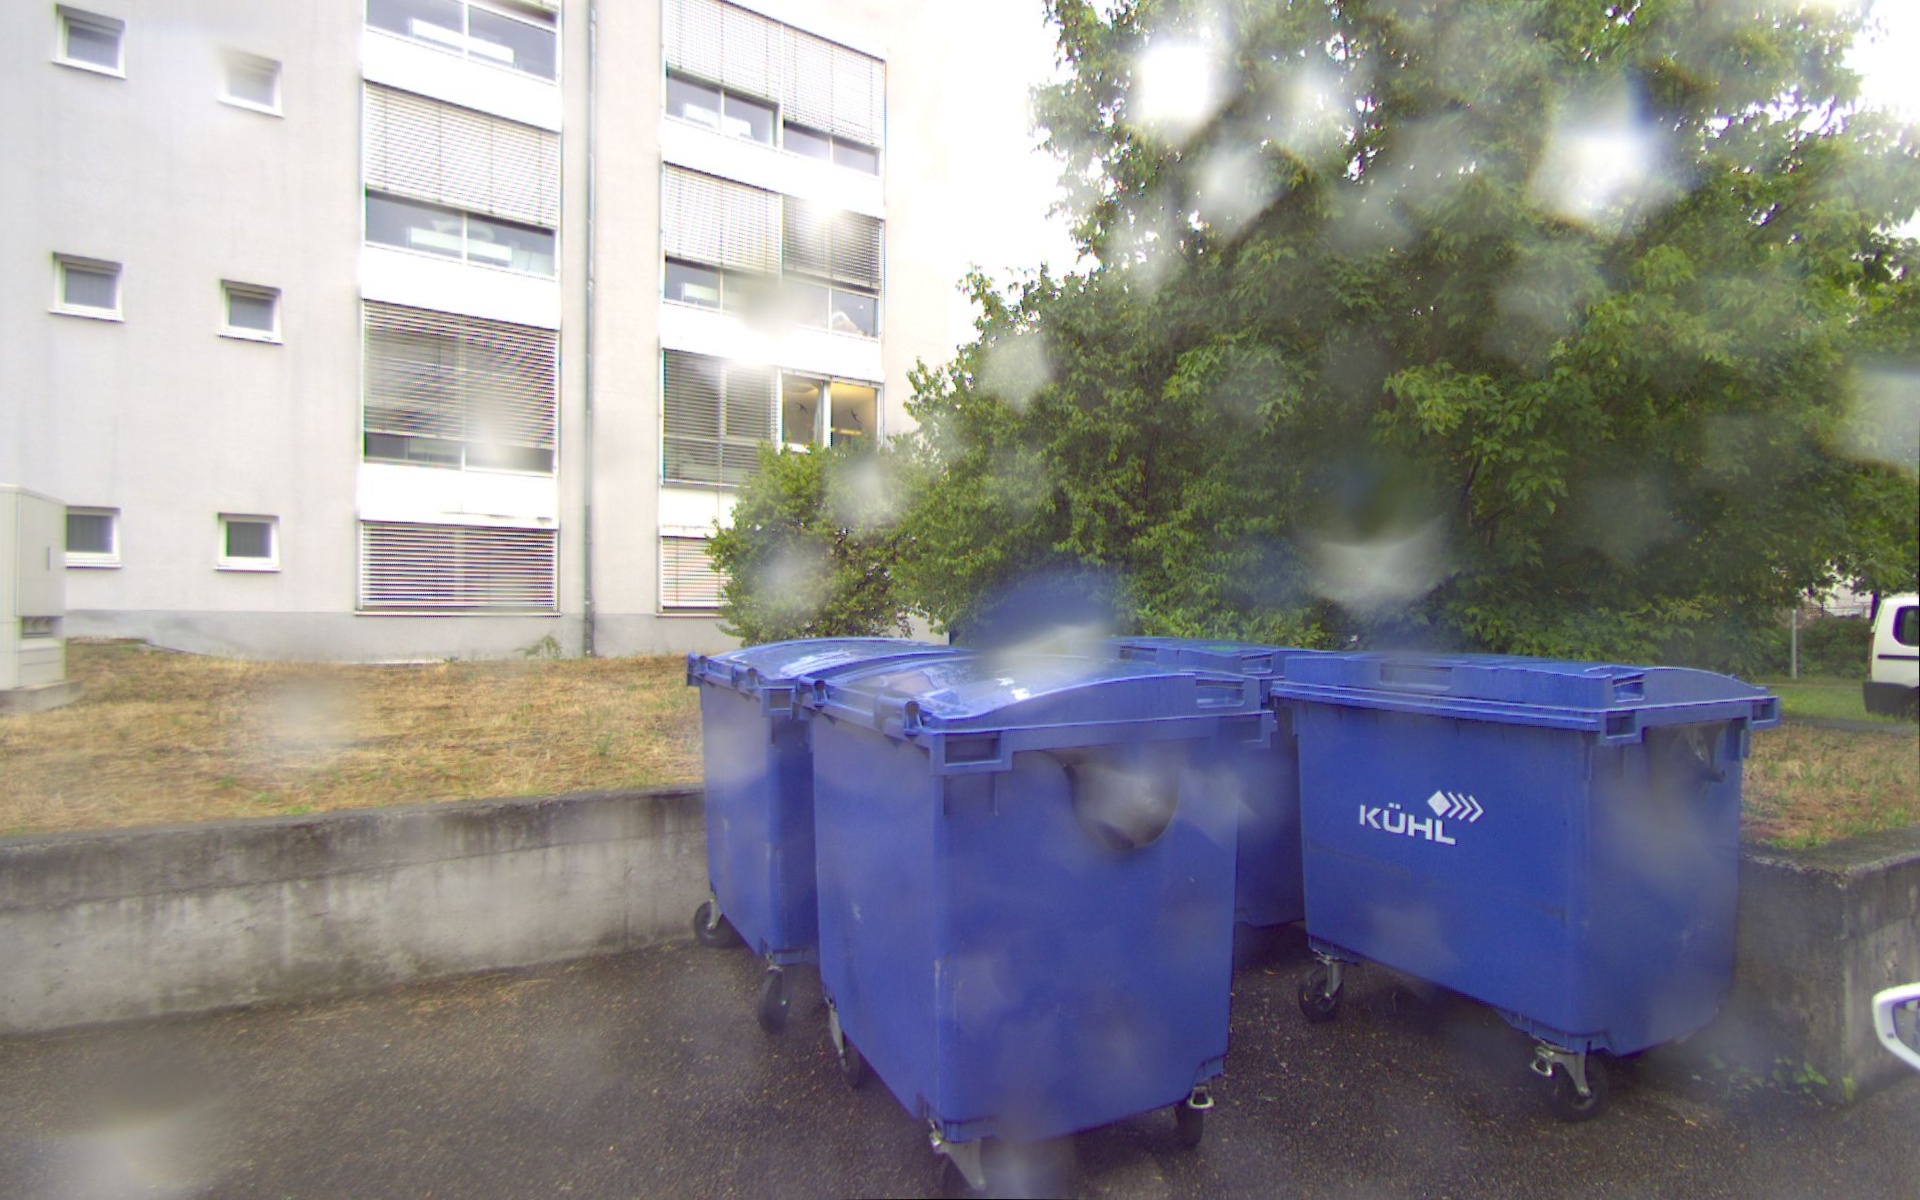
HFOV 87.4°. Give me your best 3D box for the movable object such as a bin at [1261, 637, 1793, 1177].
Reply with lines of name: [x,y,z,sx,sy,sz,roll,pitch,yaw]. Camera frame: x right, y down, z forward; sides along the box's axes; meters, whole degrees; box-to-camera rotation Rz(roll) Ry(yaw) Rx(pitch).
movable object such as a bin: [1.816,0.820,3.368,0.993,1.355,1.217,0,-1,-27]

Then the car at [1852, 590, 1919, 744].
car: [14.340,0.841,12.265,1.974,2.040,4.764,0,-2,-26]

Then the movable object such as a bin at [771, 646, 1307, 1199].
movable object such as a bin: [0.141,0.826,2.878,1.101,1.355,1.200,1,-1,-23]

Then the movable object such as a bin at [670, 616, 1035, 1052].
movable object such as a bin: [-0.479,0.775,4.041,1.102,1.355,1.198,-1,2,-27]

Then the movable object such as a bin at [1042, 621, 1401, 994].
movable object such as a bin: [1.112,0.783,4.489,0.993,1.355,1.217,-1,0,-27]
